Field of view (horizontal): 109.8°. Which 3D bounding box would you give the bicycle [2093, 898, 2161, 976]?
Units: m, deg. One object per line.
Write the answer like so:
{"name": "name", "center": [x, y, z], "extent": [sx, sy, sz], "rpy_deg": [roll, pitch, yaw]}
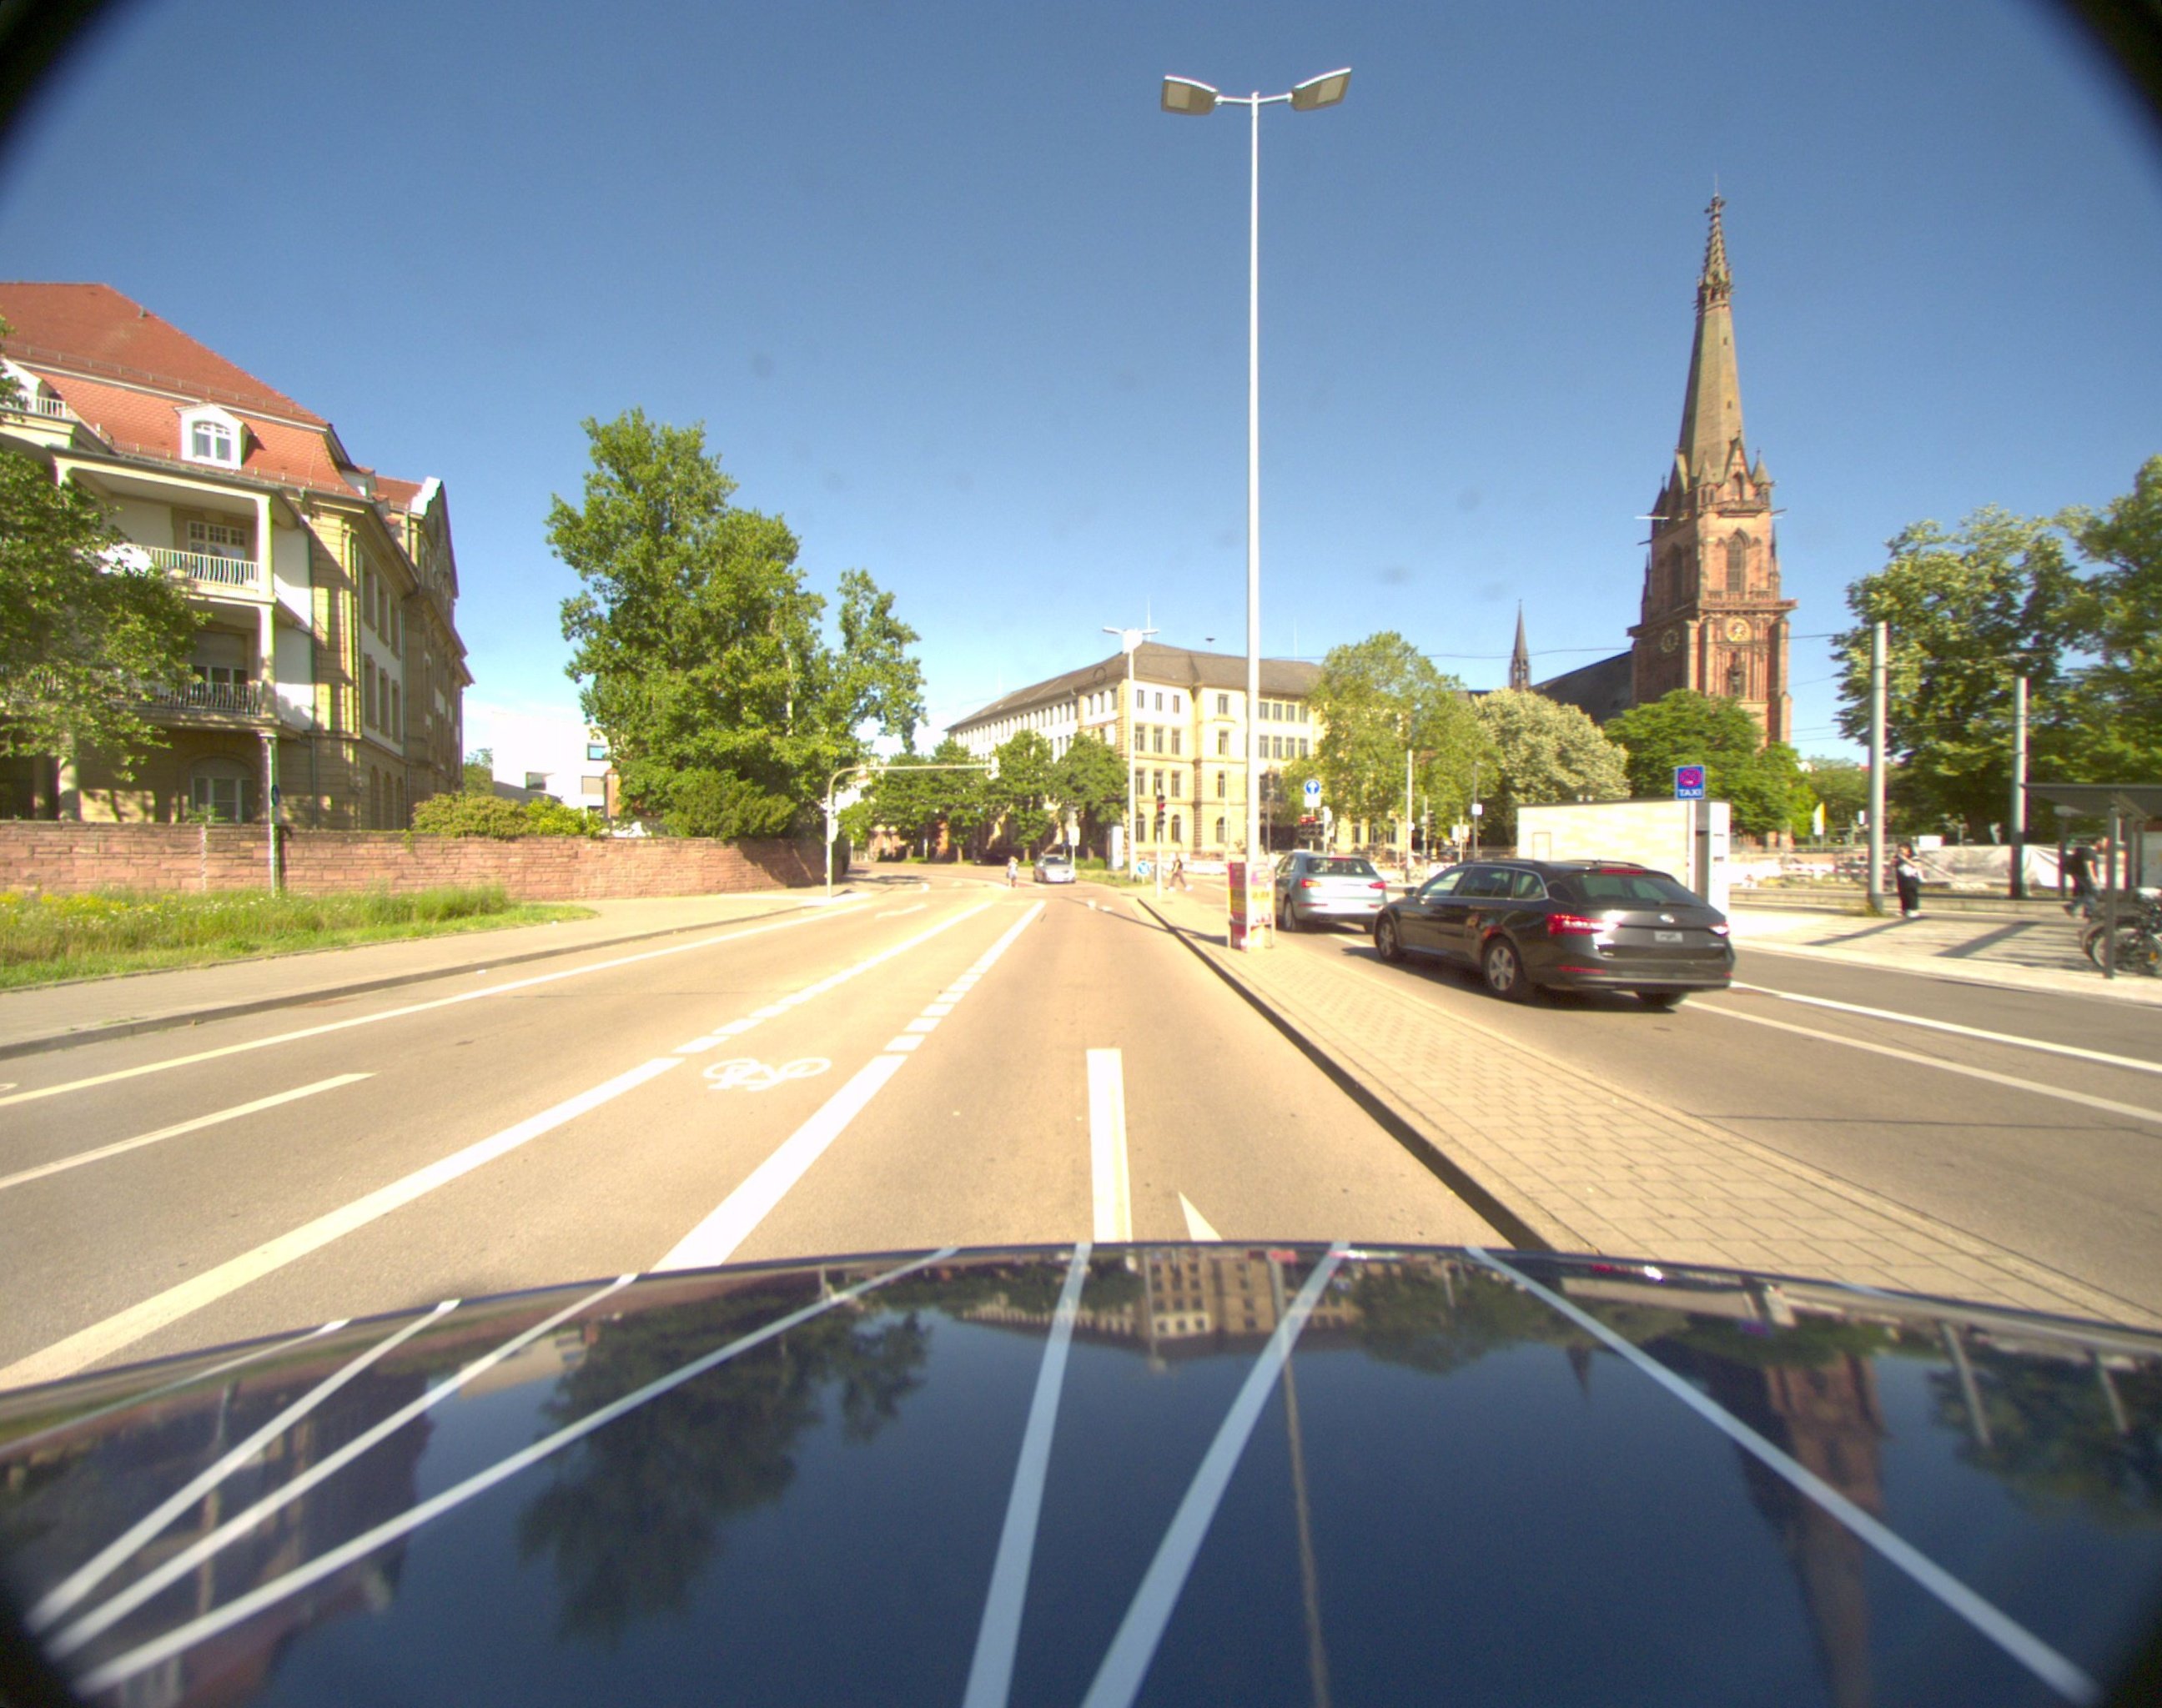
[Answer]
{"name": "bicycle", "center": [15.028, 1.166, 10.199], "extent": [0.407, 0.993, 1.678], "rpy_deg": [-3, 3, -33]}

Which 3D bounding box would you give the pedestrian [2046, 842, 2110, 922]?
{"name": "pedestrian", "center": [22.285, 0.604, 16.988], "extent": [0.622, 1.717, 0.831], "rpy_deg": [-1, 1, -36]}

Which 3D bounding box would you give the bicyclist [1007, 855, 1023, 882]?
{"name": "bicyclist", "center": [-3.455, 0.752, 39.797], "extent": [0.741, 1.363, 0.626], "rpy_deg": [-2, 1, -6]}

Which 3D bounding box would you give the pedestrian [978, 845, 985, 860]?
{"name": "pedestrian", "center": [-12.802, -0.187, 98.111], "extent": [0.578, 1.893, 0.849], "rpy_deg": [-1, 1, -36]}

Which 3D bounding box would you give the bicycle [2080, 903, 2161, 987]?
{"name": "bicycle", "center": [13.983, 1.189, 9.542], "extent": [0.407, 0.993, 1.678], "rpy_deg": [-3, 3, -33]}

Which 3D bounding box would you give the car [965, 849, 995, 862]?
{"name": "car", "center": [-12.012, 0.152, 90.328], "extent": [1.839, 1.587, 3.989], "rpy_deg": [-1, 1, -37]}

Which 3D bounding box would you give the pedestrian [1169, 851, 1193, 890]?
{"name": "pedestrian", "center": [4.323, 0.696, 32.770], "extent": [0.932, 1.657, 0.630], "rpy_deg": [0, 1, -1]}

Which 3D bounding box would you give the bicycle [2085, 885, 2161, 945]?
{"name": "bicycle", "center": [19.026, 1.084, 13.328], "extent": [0.407, 0.993, 1.679], "rpy_deg": [-3, 2, -33]}

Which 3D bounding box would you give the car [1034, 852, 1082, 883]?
{"name": "car", "center": [-1.370, 0.712, 43.464], "extent": [2.000, 1.580, 4.847], "rpy_deg": [-3, 1, -10]}

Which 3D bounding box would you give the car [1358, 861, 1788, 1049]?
{"name": "car", "center": [5.091, 0.895, 8.901], "extent": [1.818, 1.496, 4.783], "rpy_deg": [2, 0, -1]}

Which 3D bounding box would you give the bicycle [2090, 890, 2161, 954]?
{"name": "bicycle", "center": [17.963, 1.138, 12.450], "extent": [0.407, 0.993, 1.679], "rpy_deg": [-3, 2, -33]}

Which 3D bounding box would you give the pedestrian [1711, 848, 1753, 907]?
{"name": "pedestrian", "center": [18.289, 0.651, 21.341], "extent": [0.621, 1.613, 0.700], "rpy_deg": [-1, 1, -29]}

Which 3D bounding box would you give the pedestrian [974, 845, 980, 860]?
{"name": "pedestrian", "center": [-13.386, -0.182, 97.789], "extent": [0.578, 1.893, 0.781], "rpy_deg": [-1, 1, -36]}

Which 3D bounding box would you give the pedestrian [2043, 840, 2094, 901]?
{"name": "pedestrian", "center": [30.539, 0.507, 23.510], "extent": [0.619, 1.849, 0.703], "rpy_deg": [0, 1, 11]}

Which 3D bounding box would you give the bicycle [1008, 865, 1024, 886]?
{"name": "bicycle", "center": [-3.422, 1.125, 39.680], "extent": [0.741, 0.989, 2.305], "rpy_deg": [-2, 1, -6]}

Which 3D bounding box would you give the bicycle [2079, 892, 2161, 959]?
{"name": "bicycle", "center": [17.183, 1.142, 12.003], "extent": [0.407, 0.993, 1.679], "rpy_deg": [-3, 2, -33]}

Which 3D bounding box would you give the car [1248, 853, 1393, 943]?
{"name": "car", "center": [4.784, 0.785, 15.848], "extent": [1.792, 1.572, 4.258], "rpy_deg": [1, 0, 2]}

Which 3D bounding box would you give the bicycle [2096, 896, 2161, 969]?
{"name": "bicycle", "center": [16.126, 1.183, 10.990], "extent": [0.407, 0.993, 1.678], "rpy_deg": [-3, 3, -33]}

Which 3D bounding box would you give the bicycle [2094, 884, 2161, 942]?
{"name": "bicycle", "center": [19.512, 1.065, 13.570], "extent": [0.407, 0.993, 1.679], "rpy_deg": [-3, 2, -33]}

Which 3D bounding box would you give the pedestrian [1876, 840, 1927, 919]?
{"name": "pedestrian", "center": [19.588, 0.597, 18.144], "extent": [0.703, 1.849, 0.619], "rpy_deg": [-1, 1, -26]}

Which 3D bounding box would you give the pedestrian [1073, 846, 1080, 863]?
{"name": "pedestrian", "center": [-0.484, 0.061, 79.399], "extent": [0.540, 1.710, 0.545], "rpy_deg": [-1, 1, -37]}

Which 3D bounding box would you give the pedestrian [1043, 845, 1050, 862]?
{"name": "pedestrian", "center": [-3.983, -0.044, 86.820], "extent": [0.557, 2.002, 0.645], "rpy_deg": [-1, 1, -37]}
